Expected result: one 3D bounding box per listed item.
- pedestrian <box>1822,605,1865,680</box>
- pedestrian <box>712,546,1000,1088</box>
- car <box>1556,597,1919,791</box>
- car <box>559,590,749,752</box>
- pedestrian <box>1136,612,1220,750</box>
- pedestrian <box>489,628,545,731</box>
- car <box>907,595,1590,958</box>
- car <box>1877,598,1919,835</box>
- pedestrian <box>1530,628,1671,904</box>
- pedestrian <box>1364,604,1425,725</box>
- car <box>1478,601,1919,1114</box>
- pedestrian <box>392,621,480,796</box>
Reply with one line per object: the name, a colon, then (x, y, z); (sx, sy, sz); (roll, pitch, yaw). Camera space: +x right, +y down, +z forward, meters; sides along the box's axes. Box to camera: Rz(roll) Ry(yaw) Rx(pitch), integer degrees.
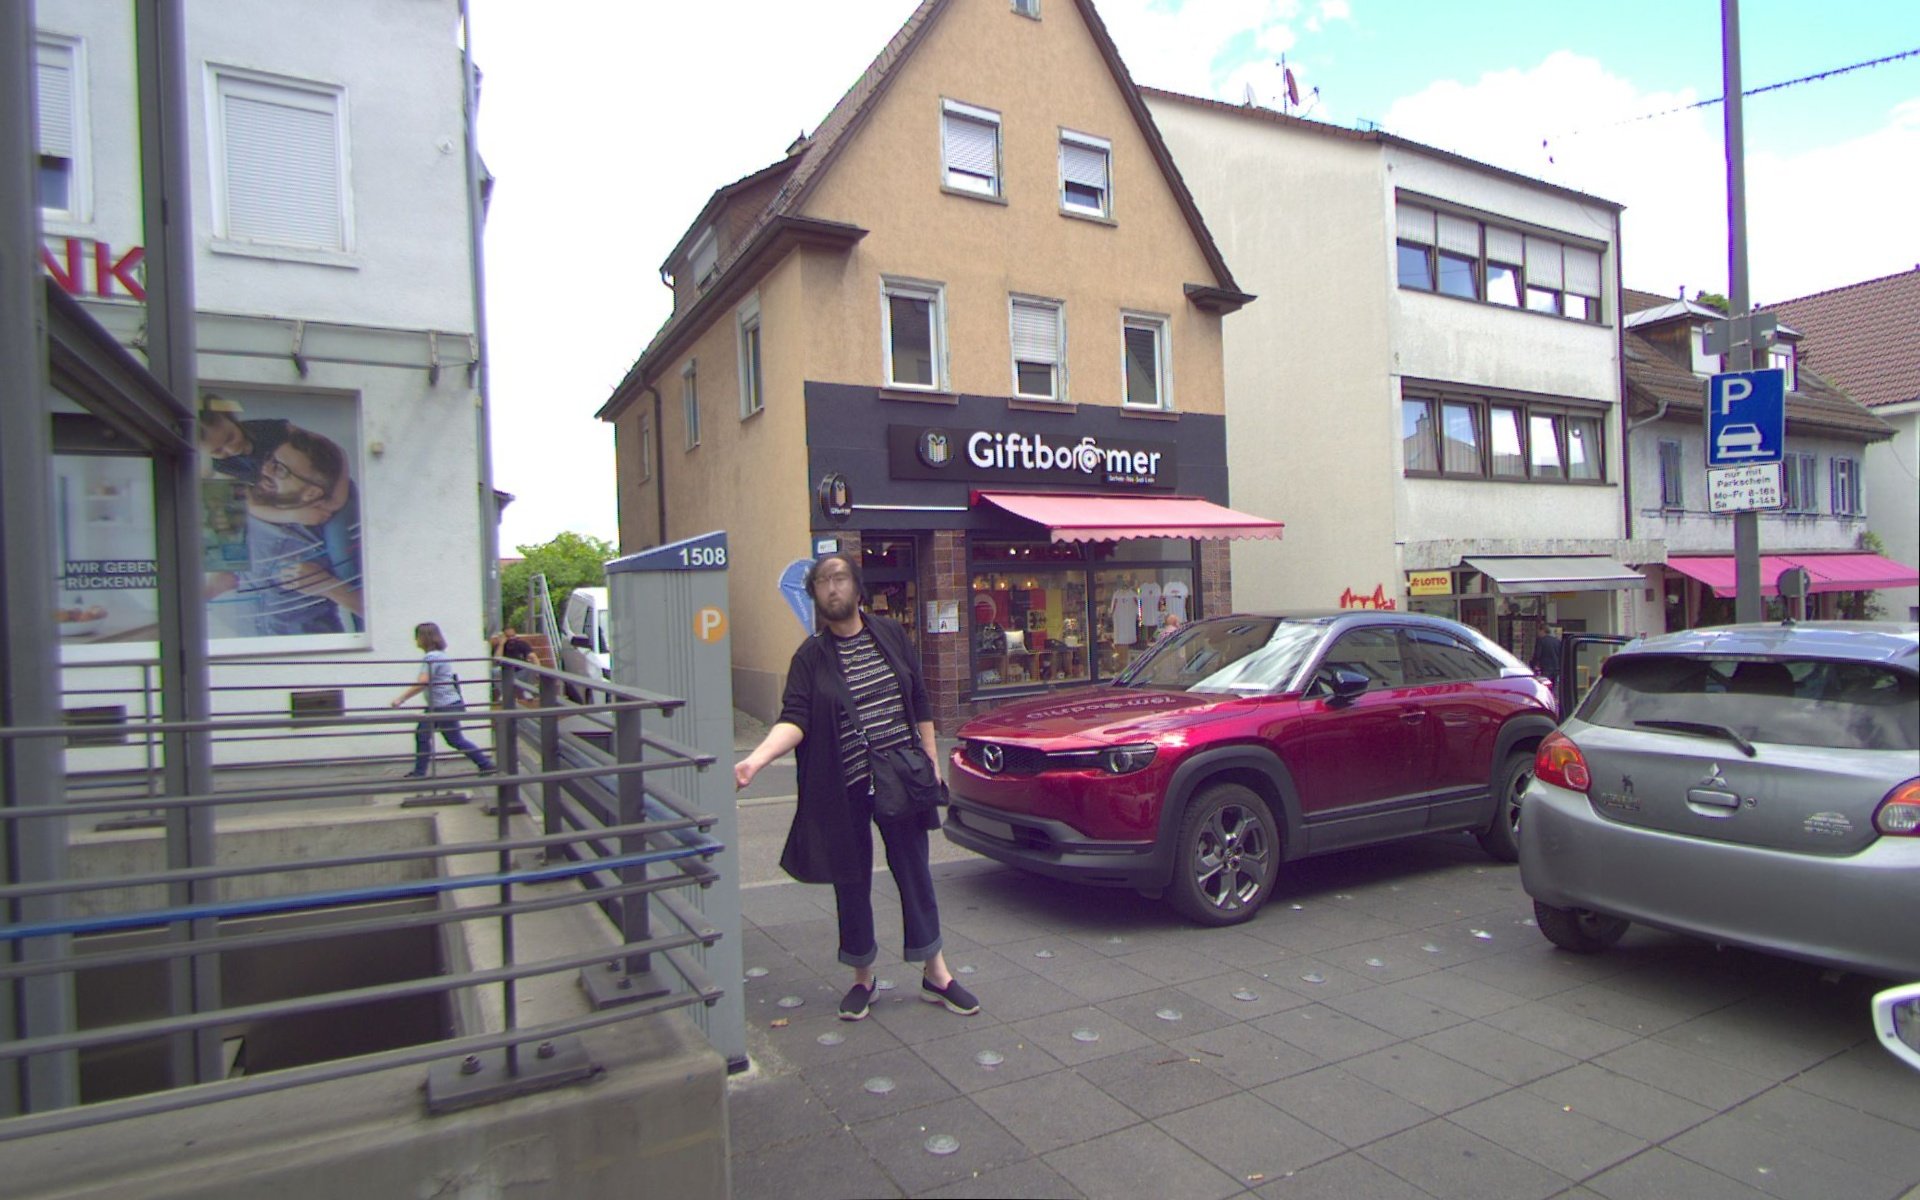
pedestrian: (20.555, 0.976, 23.370); (0.570, 1.711, 0.575); (1, 0, -31)
pedestrian: (-0.375, 0.684, 3.587); (0.889, 1.694, 0.531); (0, 0, -28)
car: (7.602, 0.771, 9.549); (3.840, 1.495, 1.730); (2, 0, -31)
car: (-4.488, 0.843, 14.313); (1.860, 1.898, 4.054); (1, 1, -28)
pedestrian: (2.813, 1.019, 12.973); (0.817, 1.711, 0.636); (1, -1, -28)
pedestrian: (-6.005, 1.058, 13.609); (0.600, 1.336, 0.622); (1, 0, -31)
car: (1.894, 0.835, 6.188); (4.146, 1.563, 1.730); (2, -2, -32)
car: (8.948, 0.876, 7.551); (4.266, 1.661, 1.946); (2, 0, -32)
pedestrian: (3.597, 0.893, 5.653); (0.486, 1.450, 0.464); (1, -3, -30)
pedestrian: (6.289, 0.924, 14.571); (0.653, 1.711, 0.646); (-1, -1, 10)
car: (4.194, 0.832, 4.544); (3.628, 1.553, 1.612); (2, 0, -31)
pedestrian: (-5.004, 1.010, 9.589); (0.708, 1.594, 0.562); (1, -3, -30)
